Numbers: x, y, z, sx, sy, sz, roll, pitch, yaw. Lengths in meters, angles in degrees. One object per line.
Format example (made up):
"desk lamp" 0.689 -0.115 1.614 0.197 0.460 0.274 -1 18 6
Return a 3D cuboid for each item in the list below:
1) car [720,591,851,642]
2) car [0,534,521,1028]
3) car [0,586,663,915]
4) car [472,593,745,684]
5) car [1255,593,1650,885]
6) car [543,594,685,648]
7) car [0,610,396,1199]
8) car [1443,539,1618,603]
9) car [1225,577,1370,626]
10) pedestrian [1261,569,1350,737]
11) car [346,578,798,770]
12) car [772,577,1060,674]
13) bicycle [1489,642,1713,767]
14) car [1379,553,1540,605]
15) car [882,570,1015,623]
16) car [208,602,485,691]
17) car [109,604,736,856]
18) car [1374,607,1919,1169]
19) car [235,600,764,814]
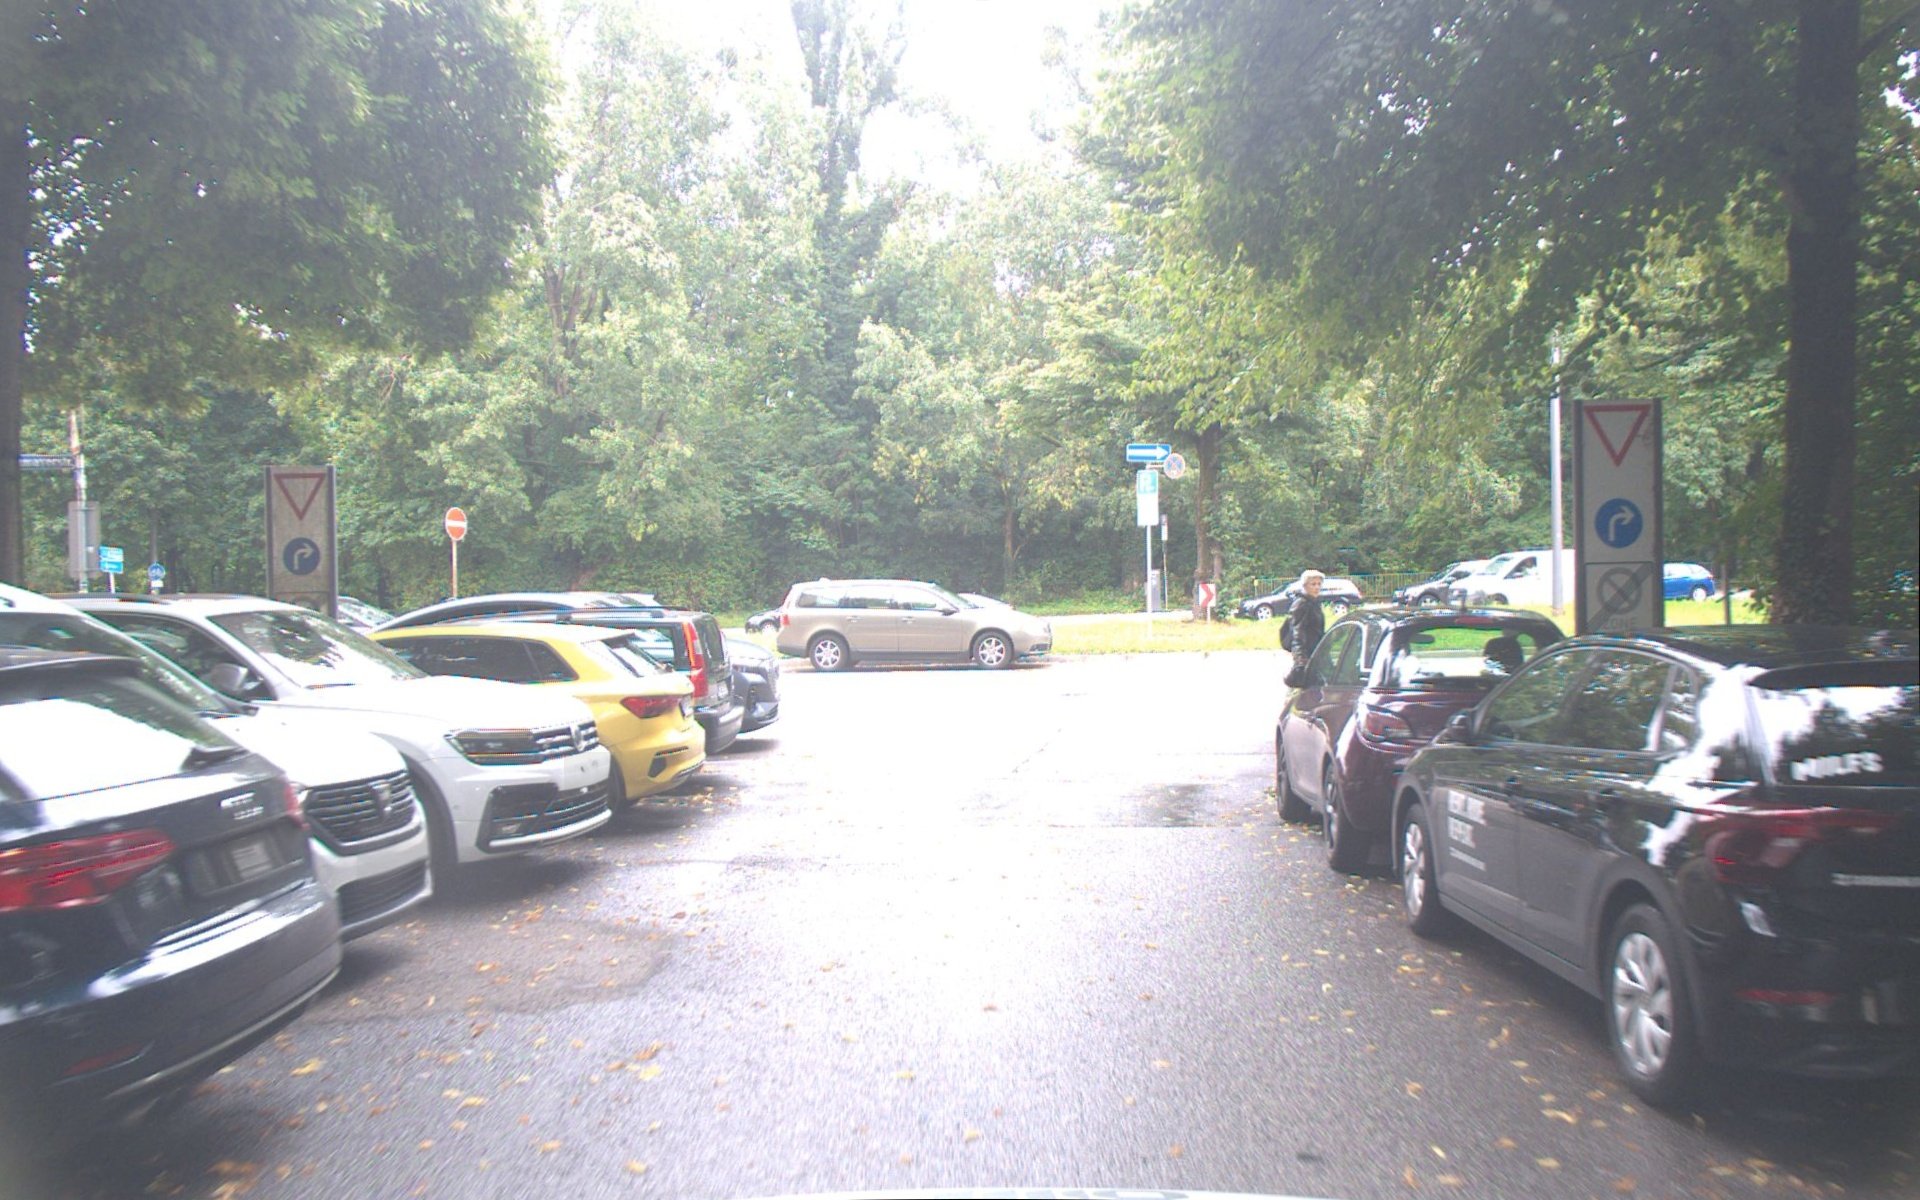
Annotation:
"car" -5.822 0.546 55.578 4.148 1.520 2.000 -2 0 -1
"car" -4.280 0.713 7.042 4.223 1.761 1.849 -2 0 4
"car" -4.083 0.781 9.341 4.354 1.624 1.837 -1 0 6
"car" -6.082 0.655 28.845 4.255 1.404 1.771 -2 0 9
"car" 2.934 0.733 10.601 1.613 1.500 3.645 -1 1 3
"car" -11.506 0.672 55.251 4.347 1.606 1.930 -2 0 -4
"car" -3.777 0.848 4.376 3.905 1.458 1.736 -2 0 0
"car" 16.688 -0.848 48.515 4.417 1.697 1.930 -2 0 -5
"car" 11.591 0.032 56.947 4.495 1.497 1.929 -2 0 -8
"pedestrian" 3.507 0.522 16.825 0.763 1.645 0.761 -1 2 3
"car" -3.807 0.702 16.745 4.077 1.629 1.736 -2 2 0
"car" -0.697 0.411 28.322 4.699 1.521 1.843 -1 1 6
"bicycle" 5.371 0.878 13.909 1.714 0.999 0.273 -2 0 10
"car" 17.238 -0.732 57.207 4.935 1.593 1.997 -2 0 -8
"car" -0.403 -0.121 55.605 4.345 1.606 1.931 -2 0 -2
"car" -10.887 0.813 29.461 4.255 1.404 1.771 -2 0 9
"car" -3.625 0.848 11.677 3.800 1.466 1.740 -2 0 -1
"car" 2.907 0.764 6.341 1.647 1.382 4.009 -1 1 0
"car" -3.747 0.848 13.954 3.905 1.489 1.736 -2 1 0
